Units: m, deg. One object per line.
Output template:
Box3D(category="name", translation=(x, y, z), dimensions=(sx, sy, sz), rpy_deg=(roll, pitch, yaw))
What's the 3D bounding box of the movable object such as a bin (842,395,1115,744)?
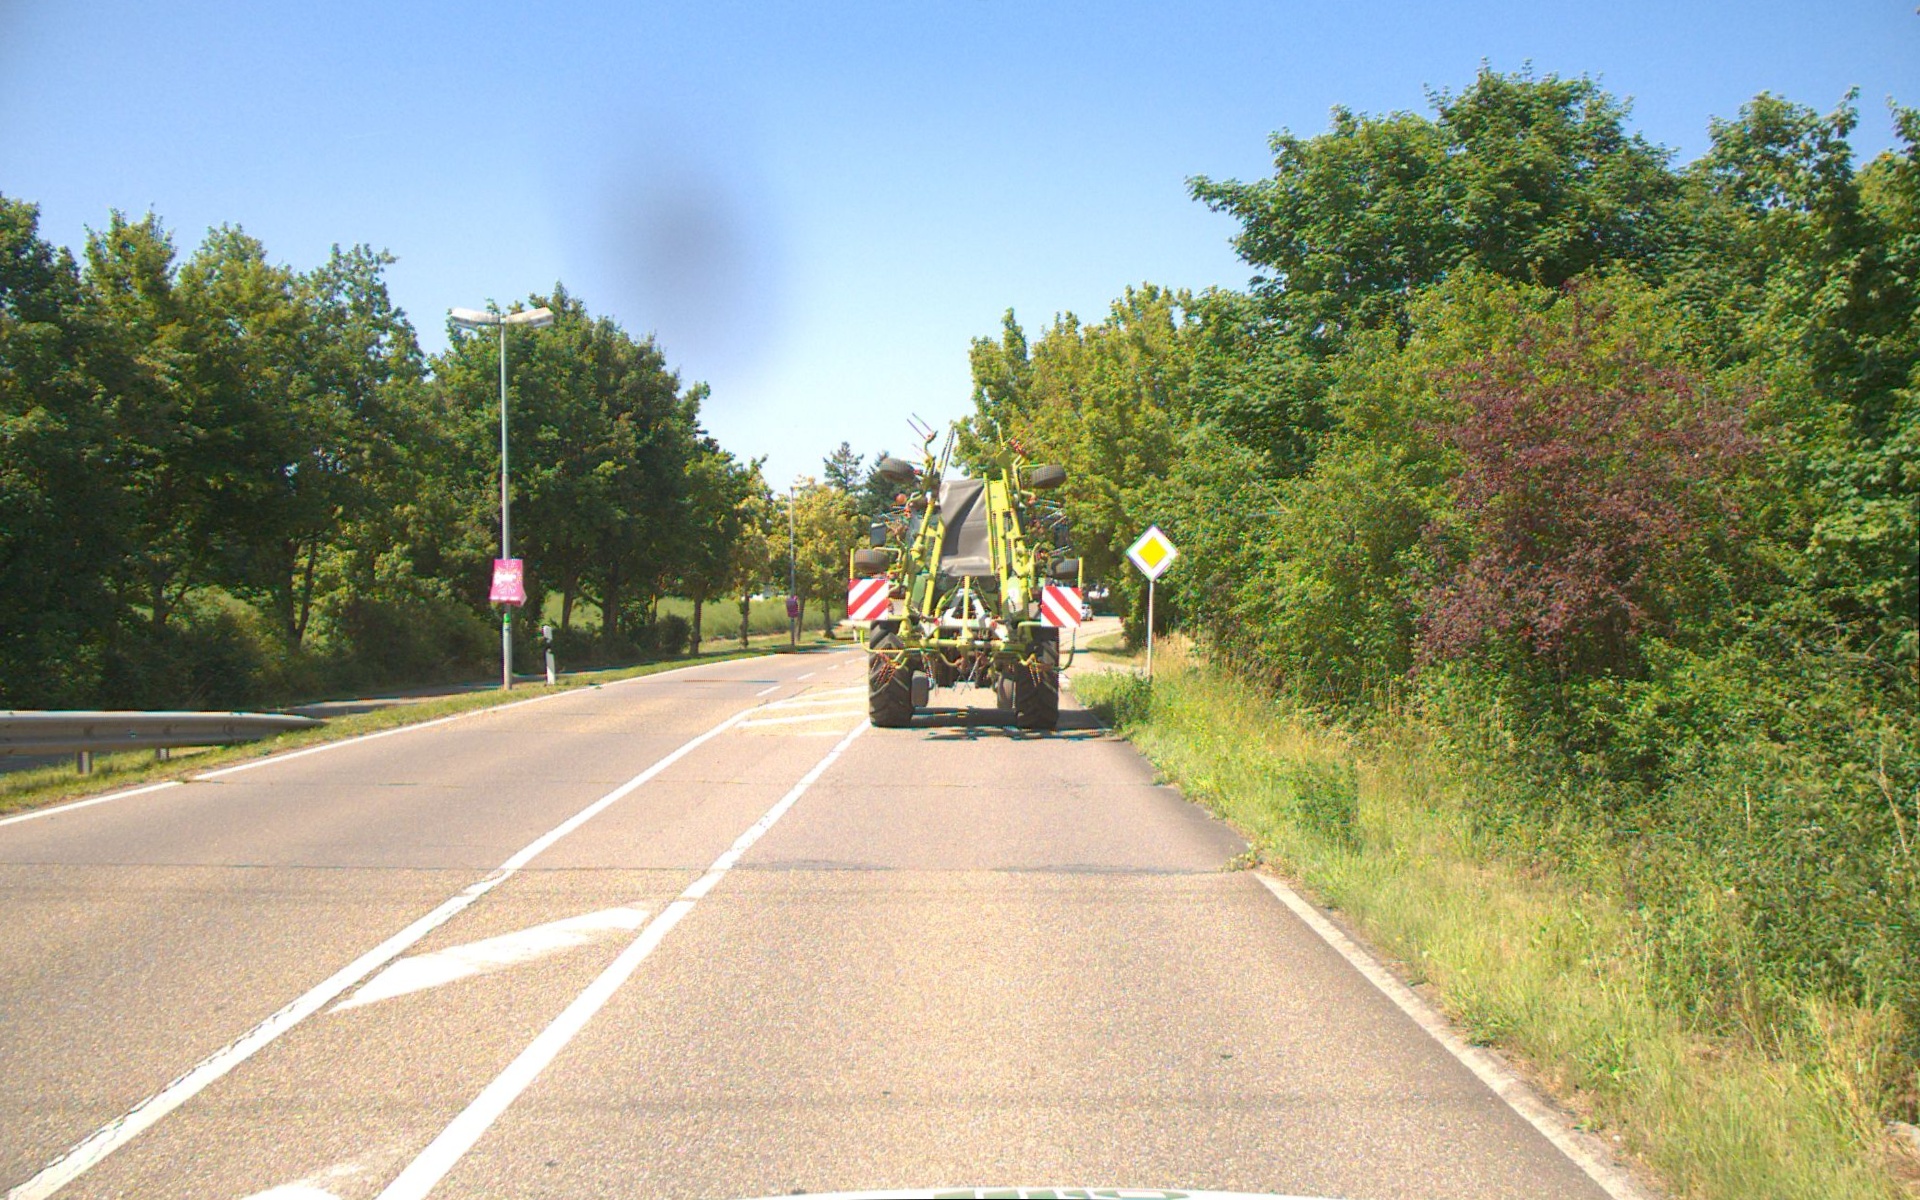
Box3D(category="movable object such as a bin", translation=(0.125, -0.348, 22.114), dimensions=(2.795, 3.603, 9.699), rpy_deg=(1, 0, -1))
